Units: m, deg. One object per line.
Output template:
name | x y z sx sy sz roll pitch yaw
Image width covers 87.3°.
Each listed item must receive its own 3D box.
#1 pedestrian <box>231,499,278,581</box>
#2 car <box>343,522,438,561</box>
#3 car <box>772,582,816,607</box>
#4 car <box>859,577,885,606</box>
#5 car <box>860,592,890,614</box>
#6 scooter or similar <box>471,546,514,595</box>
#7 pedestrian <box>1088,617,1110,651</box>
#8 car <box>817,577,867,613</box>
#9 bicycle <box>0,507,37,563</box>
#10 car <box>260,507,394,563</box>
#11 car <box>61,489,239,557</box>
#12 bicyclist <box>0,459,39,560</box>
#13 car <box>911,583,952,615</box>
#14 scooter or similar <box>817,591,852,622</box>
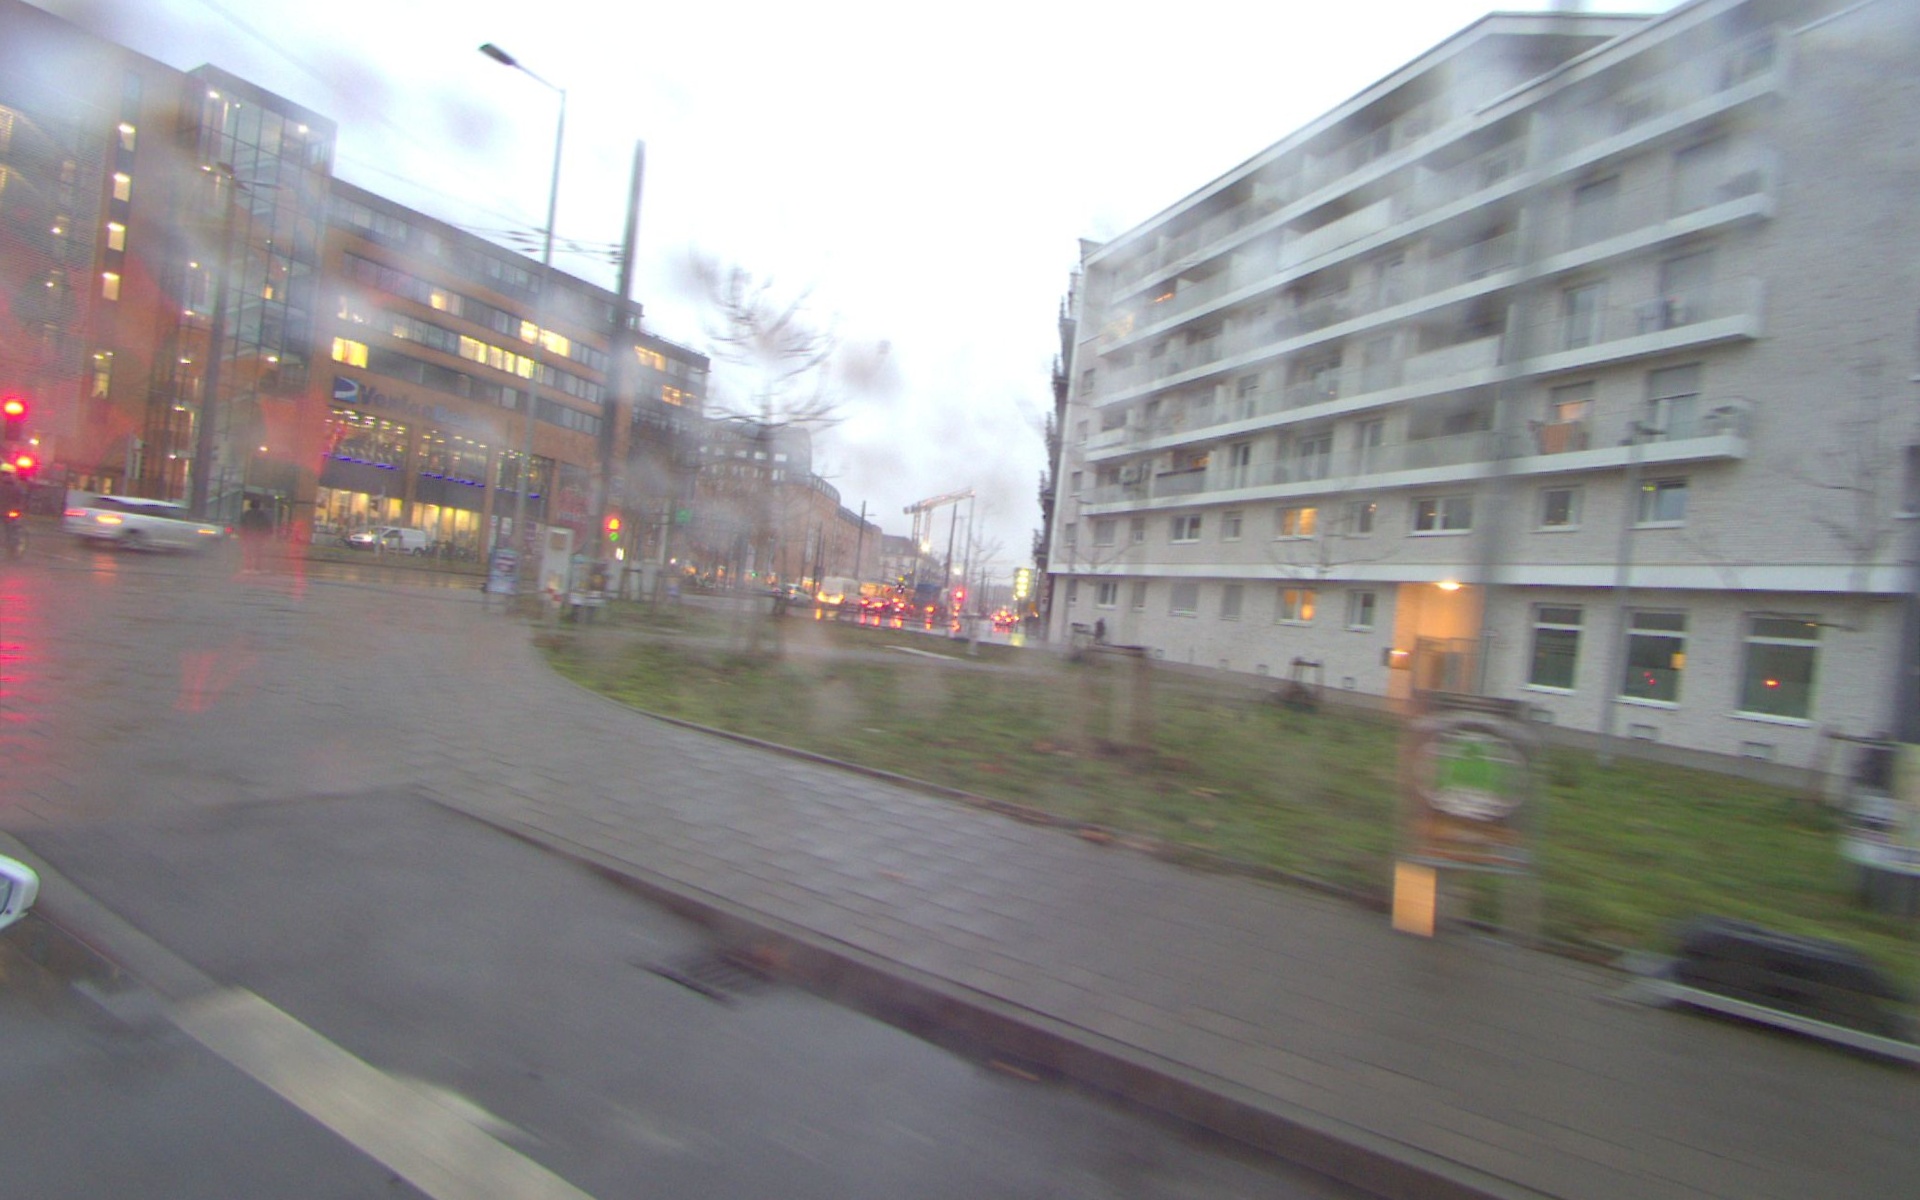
pedestrian | -17.504 -1.487 24.985 0.768 1.901 0.629 6 1 -34
car | -34.885 -3.561 61.742 1.897 1.740 4.602 7 0 31
car | -12.195 -0.353 74.014 1.613 1.514 3.686 7 0 16
car | -9.725 -0.887 111.565 2.320 2.861 6.357 7 -1 -2
car | -7.511 0.285 88.861 1.494 1.538 3.474 7 -1 13
scooter or similar | -12.770 -0.786 27.502 0.327 1.221 1.309 7 0 6
pedestrian | 7.011 1.710 50.614 0.624 1.653 0.718 7 1 42
car | -9.578 -0.383 82.383 1.962 2.457 5.978 7 -1 12
bicycle | -19.022 -1.333 20.037 1.839 0.985 0.654 7 0 40
car | -32.775 -3.330 52.321 5.596 2.084 1.939 7 0 -28
car | -23.436 -2.186 29.278 1.613 1.377 3.735 7 0 15
bicyclist | -18.958 -1.817 19.936 0.975 1.914 0.790 7 1 40
car | -2.928 -0.063 105.041 2.318 2.861 6.363 7 -1 14
scooter or similar | -5.735 0.302 46.131 0.658 1.241 1.556 6 -2 29
